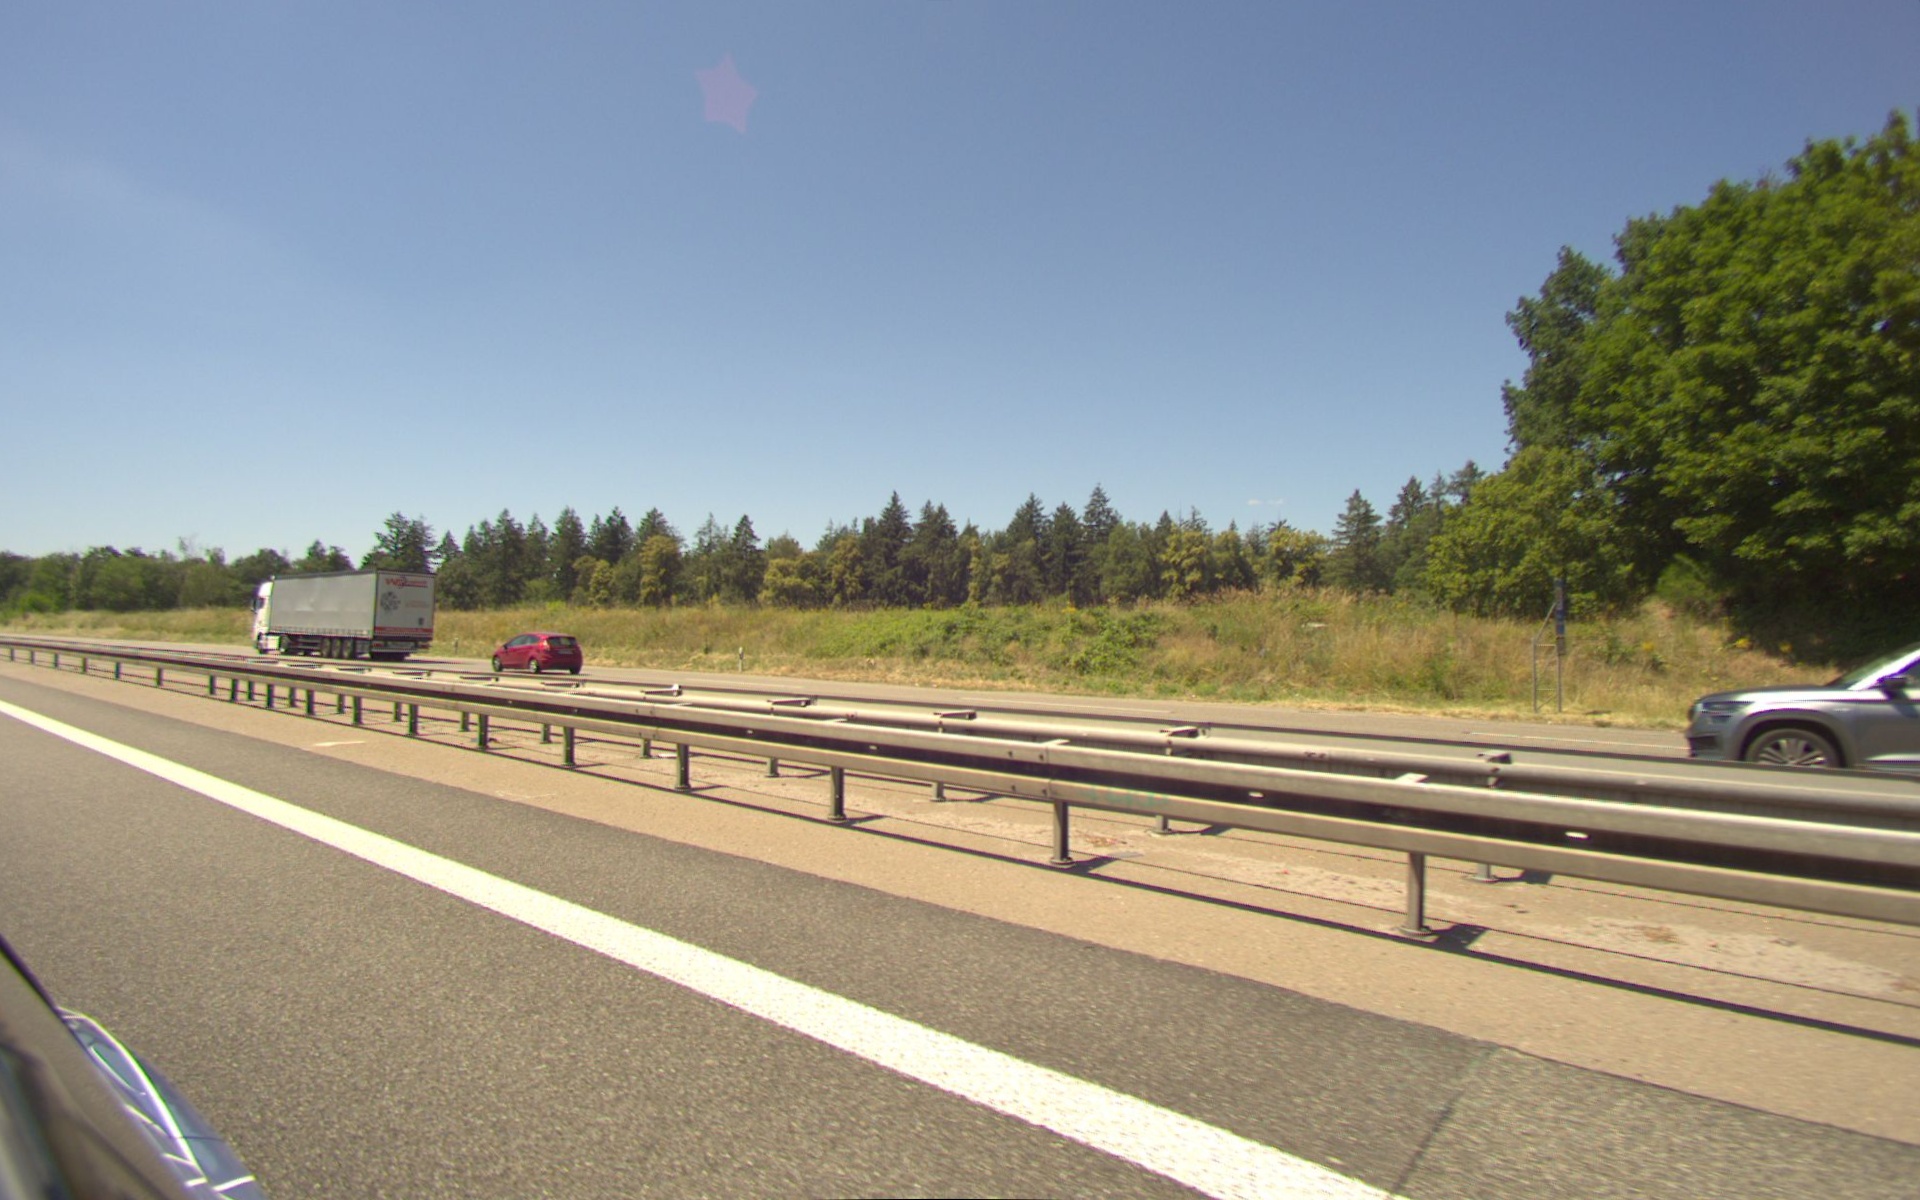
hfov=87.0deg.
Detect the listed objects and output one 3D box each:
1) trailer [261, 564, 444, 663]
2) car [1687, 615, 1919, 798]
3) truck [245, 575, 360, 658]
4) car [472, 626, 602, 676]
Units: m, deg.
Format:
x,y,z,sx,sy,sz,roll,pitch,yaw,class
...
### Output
x,y,z,sx,sy,sz,roll,pitch,yaw,class
-29.418,0.743,48.541,14.091,4.139,2.919,-1,-4,40,trailer
9.918,0.998,9.358,5.055,1.623,2.205,-1,-4,40,car
-34.220,0.917,52.554,6.947,3.990,2.919,-1,-4,40,truck
-14.859,1.759,35.474,4.783,1.623,2.205,-1,-4,40,car
